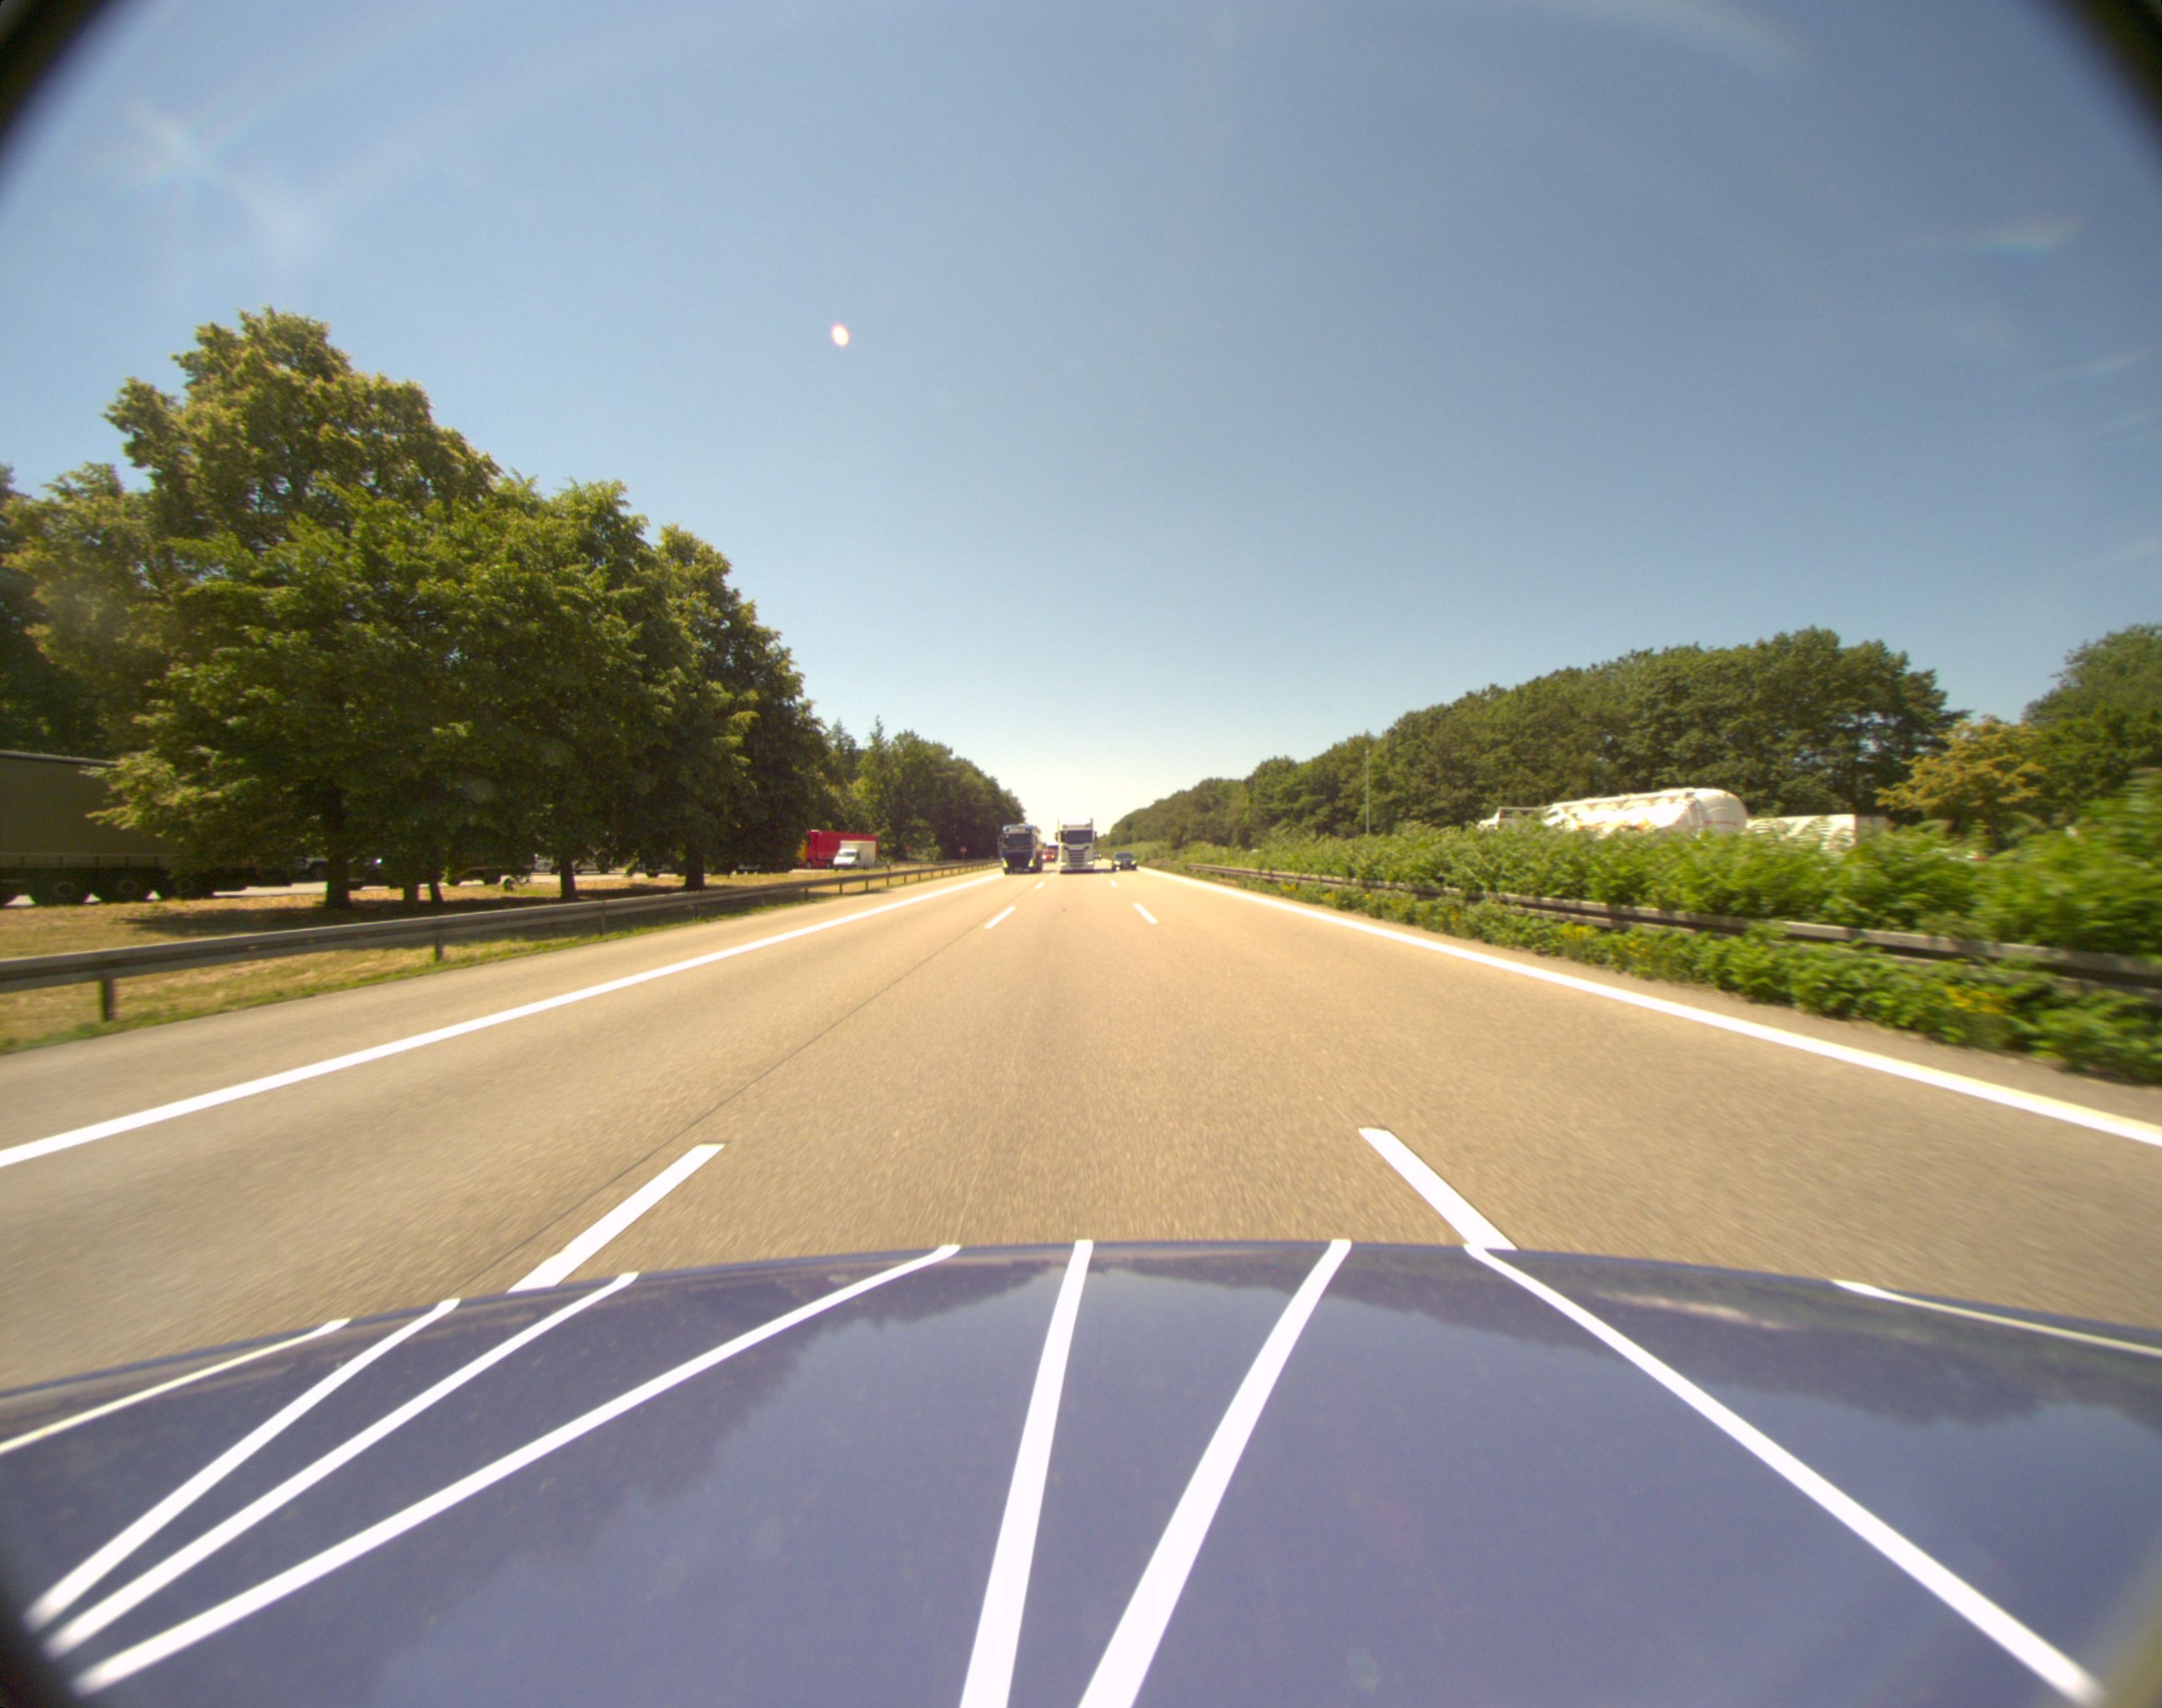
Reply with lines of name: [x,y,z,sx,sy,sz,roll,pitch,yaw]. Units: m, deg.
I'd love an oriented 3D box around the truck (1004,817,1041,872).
truck: [-4.440,-0.729,58.312,2.455,4.015,4.071,-2,1,0]

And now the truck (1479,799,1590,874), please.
truck: [20.194,-0.736,34.110,2.352,3.061,4.397,-2,1,1]

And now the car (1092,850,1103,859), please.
car: [2.909,0.119,134.545,1.887,1.634,4.000,-1,0,1]

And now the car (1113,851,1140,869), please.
car: [3.586,0.442,60.393,1.887,1.341,4.467,-1,0,0]

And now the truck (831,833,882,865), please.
truck: [-22.121,-0.478,75.330,2.474,2.929,7.659,-1,1,2]

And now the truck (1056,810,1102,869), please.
truck: [-0.210,-1.002,55.757,3.237,4.133,4.558,-1,0,-2]

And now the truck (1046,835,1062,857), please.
truck: [-5.192,-1.491,147.778,2.798,4.180,4.997,-1,1,-5]

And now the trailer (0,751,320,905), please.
trailer: [-27.919,-0.602,19.461,3.110,3.768,13.362,-2,0,1]

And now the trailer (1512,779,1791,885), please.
trailer: [20.100,-0.689,28.074,2.377,3.072,10.648,-2,0,1]

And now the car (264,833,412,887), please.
car: [-35.362,0.242,36.387,1.997,2.425,4.783,0,1,10]

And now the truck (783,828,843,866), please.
truck: [-28.270,-0.694,80.466,2.983,3.858,6.423,0,0,14]

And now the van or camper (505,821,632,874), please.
van or camper: [-33.743,-0.415,50.421,3.004,3.216,7.005,0,0,8]

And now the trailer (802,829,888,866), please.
trailer: [-26.644,-0.747,86.916,2.983,3.855,12.901,0,1,14]

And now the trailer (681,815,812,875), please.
trailer: [-24.446,-0.647,56.670,3.190,3.912,11.556,-1,1,8]

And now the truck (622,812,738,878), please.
truck: [-25.592,-0.554,48.956,3.190,3.912,6.620,-1,1,8]

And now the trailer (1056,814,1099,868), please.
trailer: [-0.472,-0.998,63.810,3.232,4.119,12.348,-1,0,-2]

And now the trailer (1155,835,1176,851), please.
trailer: [19.447,-2.529,175.748,2.971,3.549,13.430,-2,1,-1]

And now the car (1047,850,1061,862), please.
car: [-4.047,0.247,114.454,1.715,1.669,4.000,-2,0,1]

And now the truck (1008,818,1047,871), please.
truck: [-4.423,-0.783,64.701,2.449,4.020,10.540,-2,1,0]

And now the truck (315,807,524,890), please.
truck: [-27.377,-0.229,31.942,2.473,3.068,6.619,-2,0,6]

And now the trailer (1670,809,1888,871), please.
trailer: [49.755,-0.921,55.088,2.619,3.948,12.591,0,0,-11]
